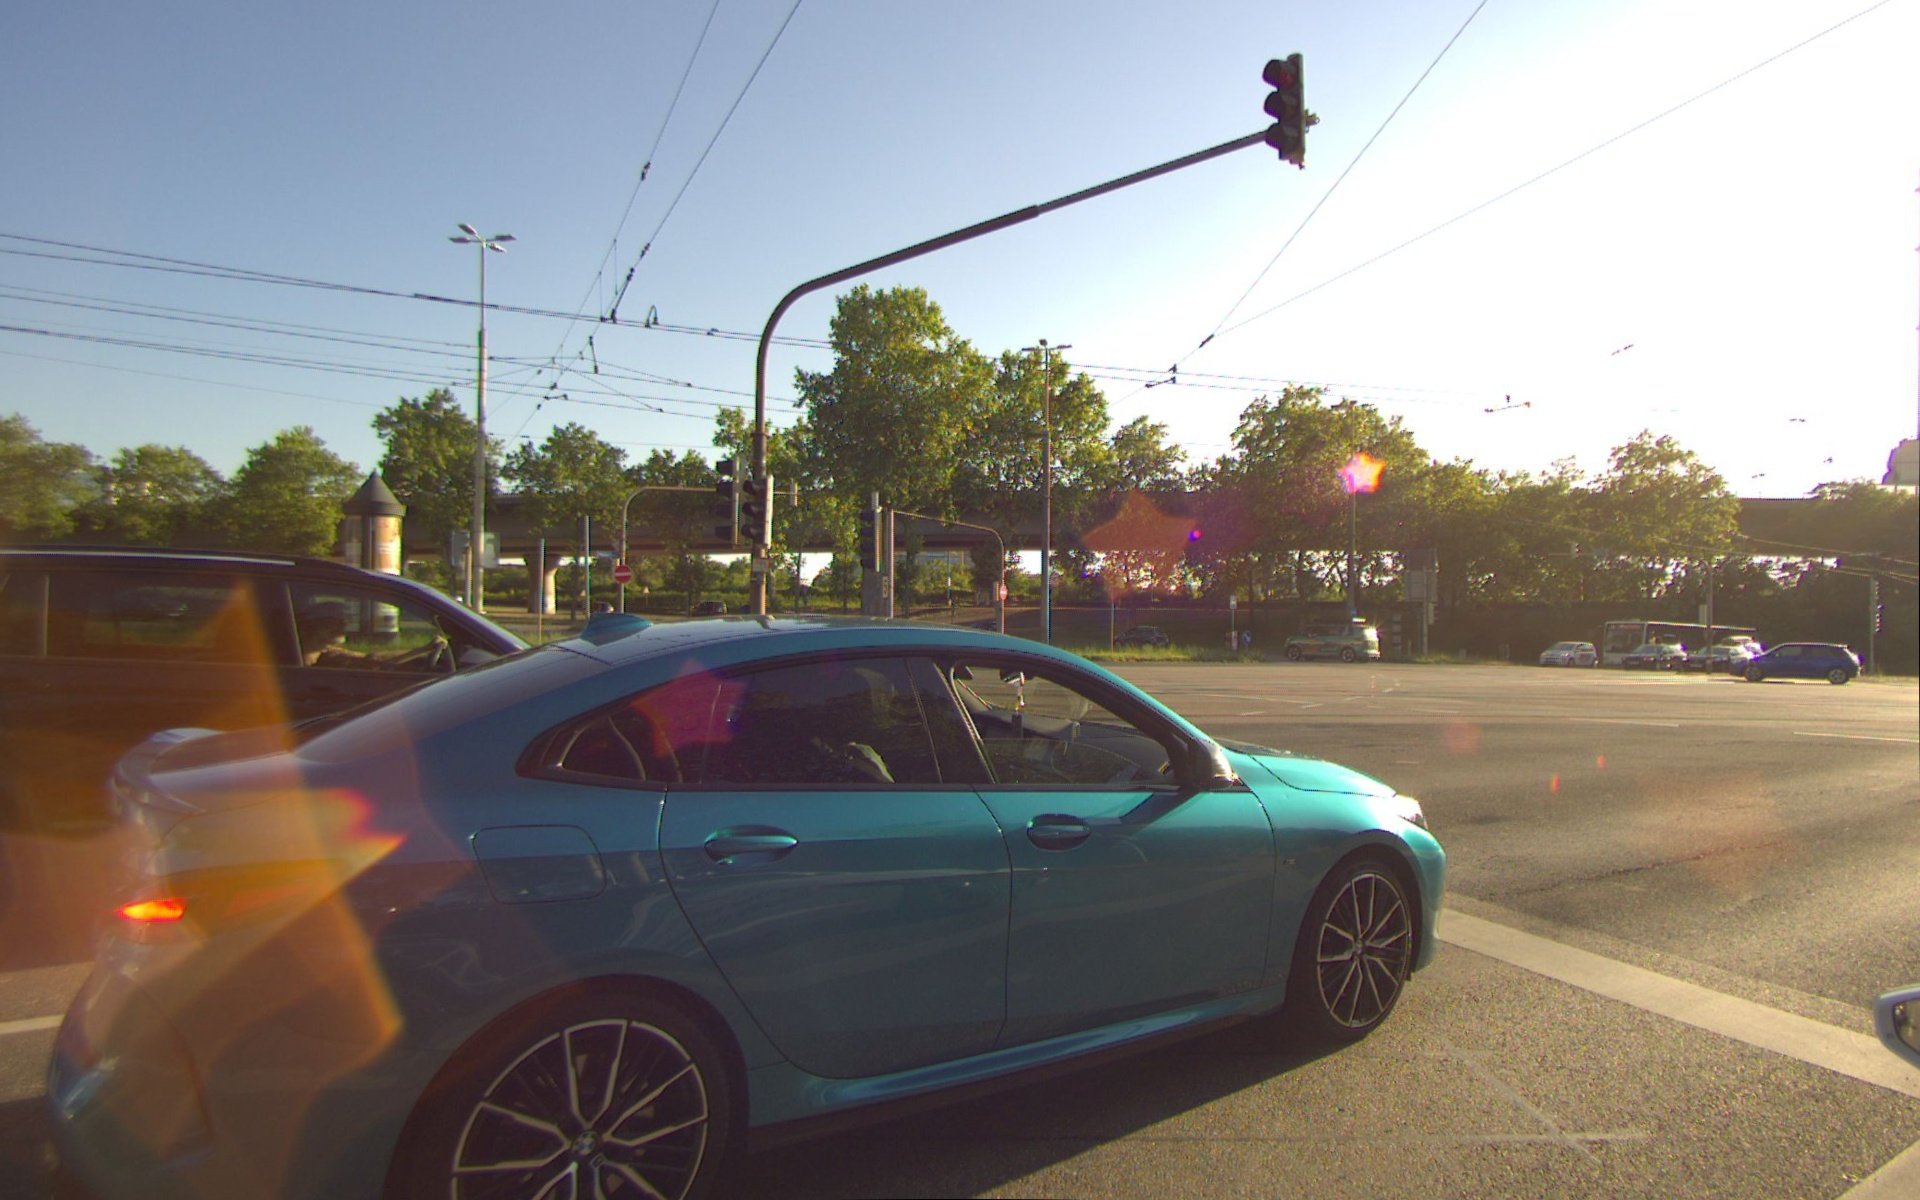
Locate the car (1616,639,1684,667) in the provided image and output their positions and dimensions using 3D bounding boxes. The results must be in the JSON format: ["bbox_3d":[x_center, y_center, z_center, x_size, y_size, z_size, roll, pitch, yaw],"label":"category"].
[{"bbox_3d":[37.306,2.865,54.258,3.956,1.372,1.595,2,-1,-32],"label":"car"}]

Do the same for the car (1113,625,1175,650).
[{"bbox_3d":[11.796,2.404,64.541,1.684,1.441,3.688,2,-1,-42],"label":"car"}]

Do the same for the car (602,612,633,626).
[{"bbox_3d":[-39.948,2.201,117.097,1.982,1.473,4.485,2,-1,-38],"label":"car"}]

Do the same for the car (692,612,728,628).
[{"bbox_3d":[-27.242,2.150,109.359,1.984,1.644,4.482,2,-1,-40],"label":"car"}]

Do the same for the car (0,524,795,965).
[{"bbox_3d":[-3.357,0.596,5.222,4.550,1.703,1.905,2,-1,-32],"label":"car"}]

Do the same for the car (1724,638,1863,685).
[{"bbox_3d":[31.611,2.304,38.143,1.987,1.579,3.883,2,-2,-45],"label":"car"}]

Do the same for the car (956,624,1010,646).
[{"bbox_3d":[1.606,2.450,70.904,1.685,1.441,3.686,2,-1,-43],"label":"car"}]

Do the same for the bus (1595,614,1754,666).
[{"bbox_3d":[44.847,2.560,62.802,12.694,2.993,2.811,2,-1,-28],"label":"bus"}]

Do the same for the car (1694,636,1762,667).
[{"bbox_3d":[44.326,2.956,57.960,4.046,1.674,1.703,2,-1,-30],"label":"car"}]

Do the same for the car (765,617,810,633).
[{"bbox_3d":[-15.968,2.302,92.849,1.986,1.473,4.478,2,-2,-42],"label":"car"}]

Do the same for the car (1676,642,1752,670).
[{"bbox_3d":[39.042,2.902,52.010,4.046,1.372,1.703,2,-1,-30],"label":"car"}]

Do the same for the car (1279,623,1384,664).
[{"bbox_3d":[18.973,2.206,51.446,1.987,1.930,4.644,2,-2,-44],"label":"car"}]

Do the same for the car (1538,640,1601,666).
[{"bbox_3d":[34.512,2.997,56.864,3.693,1.372,1.595,2,-1,-32],"label":"car"}]

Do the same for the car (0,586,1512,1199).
[{"bbox_3d":[-0.198,0.768,3.435,4.465,1.436,1.774,2,-1,-33],"label":"car"}]
